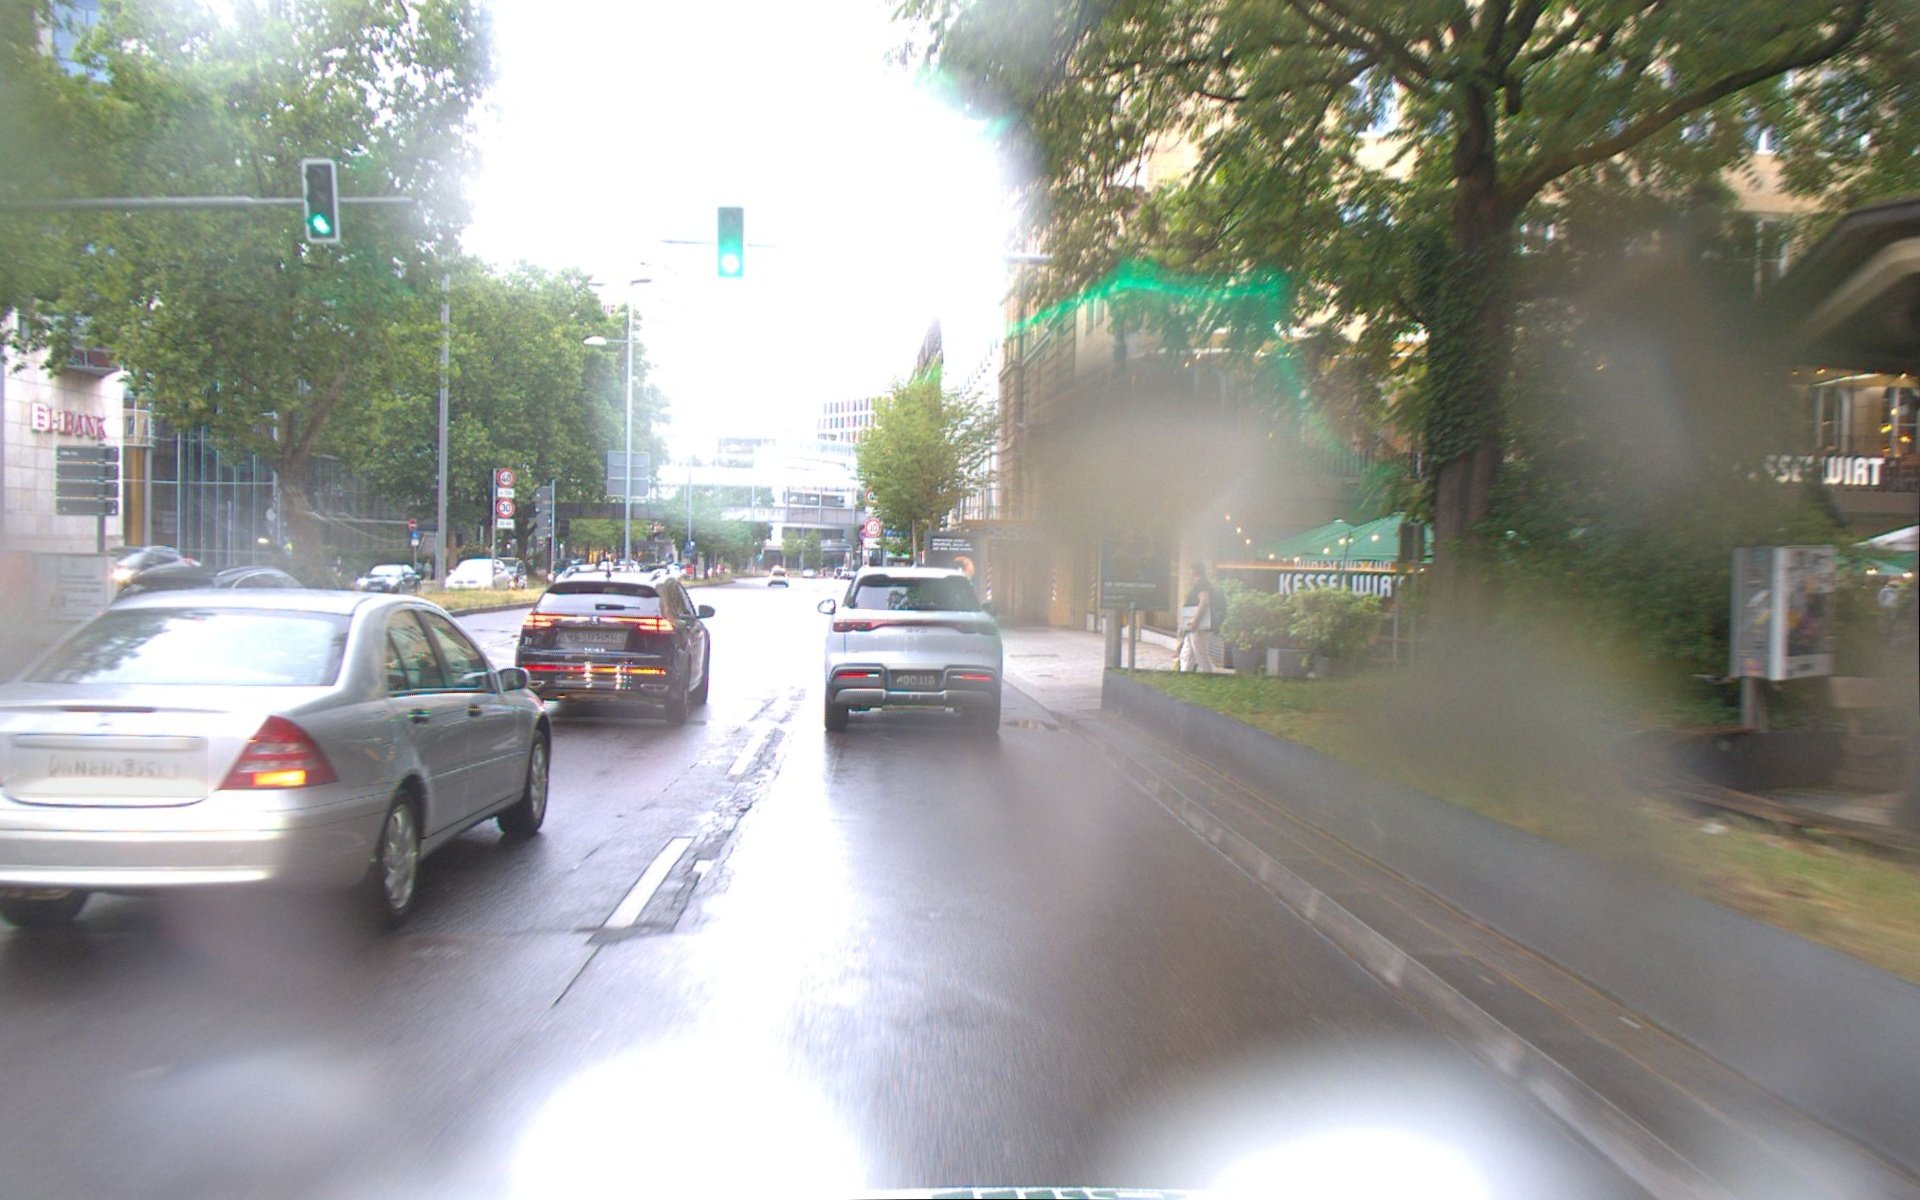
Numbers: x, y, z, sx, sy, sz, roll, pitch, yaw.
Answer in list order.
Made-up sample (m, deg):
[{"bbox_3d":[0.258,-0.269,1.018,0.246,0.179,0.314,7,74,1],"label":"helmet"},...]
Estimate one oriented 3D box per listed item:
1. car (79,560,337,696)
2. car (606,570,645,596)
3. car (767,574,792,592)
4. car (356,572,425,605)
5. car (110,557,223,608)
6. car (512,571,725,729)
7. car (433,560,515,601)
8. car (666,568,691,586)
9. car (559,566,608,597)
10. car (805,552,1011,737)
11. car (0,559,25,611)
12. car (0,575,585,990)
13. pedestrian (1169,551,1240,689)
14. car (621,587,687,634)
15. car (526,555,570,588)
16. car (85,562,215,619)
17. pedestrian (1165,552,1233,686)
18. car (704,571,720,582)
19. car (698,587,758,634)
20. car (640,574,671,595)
[{"bbox_3d":[-9.932,0.305,22.182,1.665,1.648,4.000,1,1,-1],"label":"car"},{"bbox_3d":[-20.649,-1.050,102.326,1.759,1.536,4.497,-1,1,-4],"label":"car"},{"bbox_3d":[-15.499,-1.500,142.039,1.939,1.488,4.342,-1,1,-4],"label":"car"},{"bbox_3d":[-25.148,-0.487,73.164,1.812,1.390,4.236,1,0,-4],"label":"car"},{"bbox_3d":[-27.362,-0.601,57.189,1.653,1.671,4.241,1,0,3],"label":"car"},{"bbox_3d":[-3.540,0.446,17.843,1.658,1.488,4.342,0,1,-4],"label":"car"},{"bbox_3d":[-18.732,-0.767,63.910,2.116,1.488,4.342,-1,1,-4],"label":"car"},{"bbox_3d":[-24.756,-1.991,145.503,1.759,1.536,4.342,-1,1,-4],"label":"car"},{"bbox_3d":[-19.210,-0.949,84.600,1.759,1.536,4.497,-1,1,-4],"label":"car"},{"bbox_3d":[-0.533,0.401,17.893,1.907,1.695,4.344,2,0,-1],"label":"car"},{"bbox_3d":[-26.935,-0.416,43.869,1.653,1.427,4.241,1,0,3],"label":"car"},{"bbox_3d":[-3.152,0.633,8.176,1.657,1.488,4.345,-1,1,-1],"label":"car"},{"bbox_3d":[3.280,0.261,22.255,0.841,1.811,0.718,1,0,2],"label":"pedestrian"},{"bbox_3d":[-10.337,0.339,56.124,1.658,1.488,4.342,-1,1,-4],"label":"car"},{"bbox_3d":[-24.543,-1.689,98.749,1.759,1.942,4.497,-1,1,-4],"label":"car"},{"bbox_3d":[-23.300,-0.301,47.770,1.759,1.536,4.497,-1,1,-4],"label":"car"},{"bbox_3d":[3.321,0.258,23.025,0.841,1.811,0.718,1,0,2],"label":"pedestrian"},{"bbox_3d":[-34.730,-3.236,231.510,1.759,1.536,4.342,-1,1,-4],"label":"car"},{"bbox_3d":[-7.876,0.334,56.432,1.658,1.488,4.342,-1,1,-4],"label":"car"},{"bbox_3d":[-22.887,-1.195,124.428,1.759,1.536,4.342,-1,1,-4],"label":"car"}]
